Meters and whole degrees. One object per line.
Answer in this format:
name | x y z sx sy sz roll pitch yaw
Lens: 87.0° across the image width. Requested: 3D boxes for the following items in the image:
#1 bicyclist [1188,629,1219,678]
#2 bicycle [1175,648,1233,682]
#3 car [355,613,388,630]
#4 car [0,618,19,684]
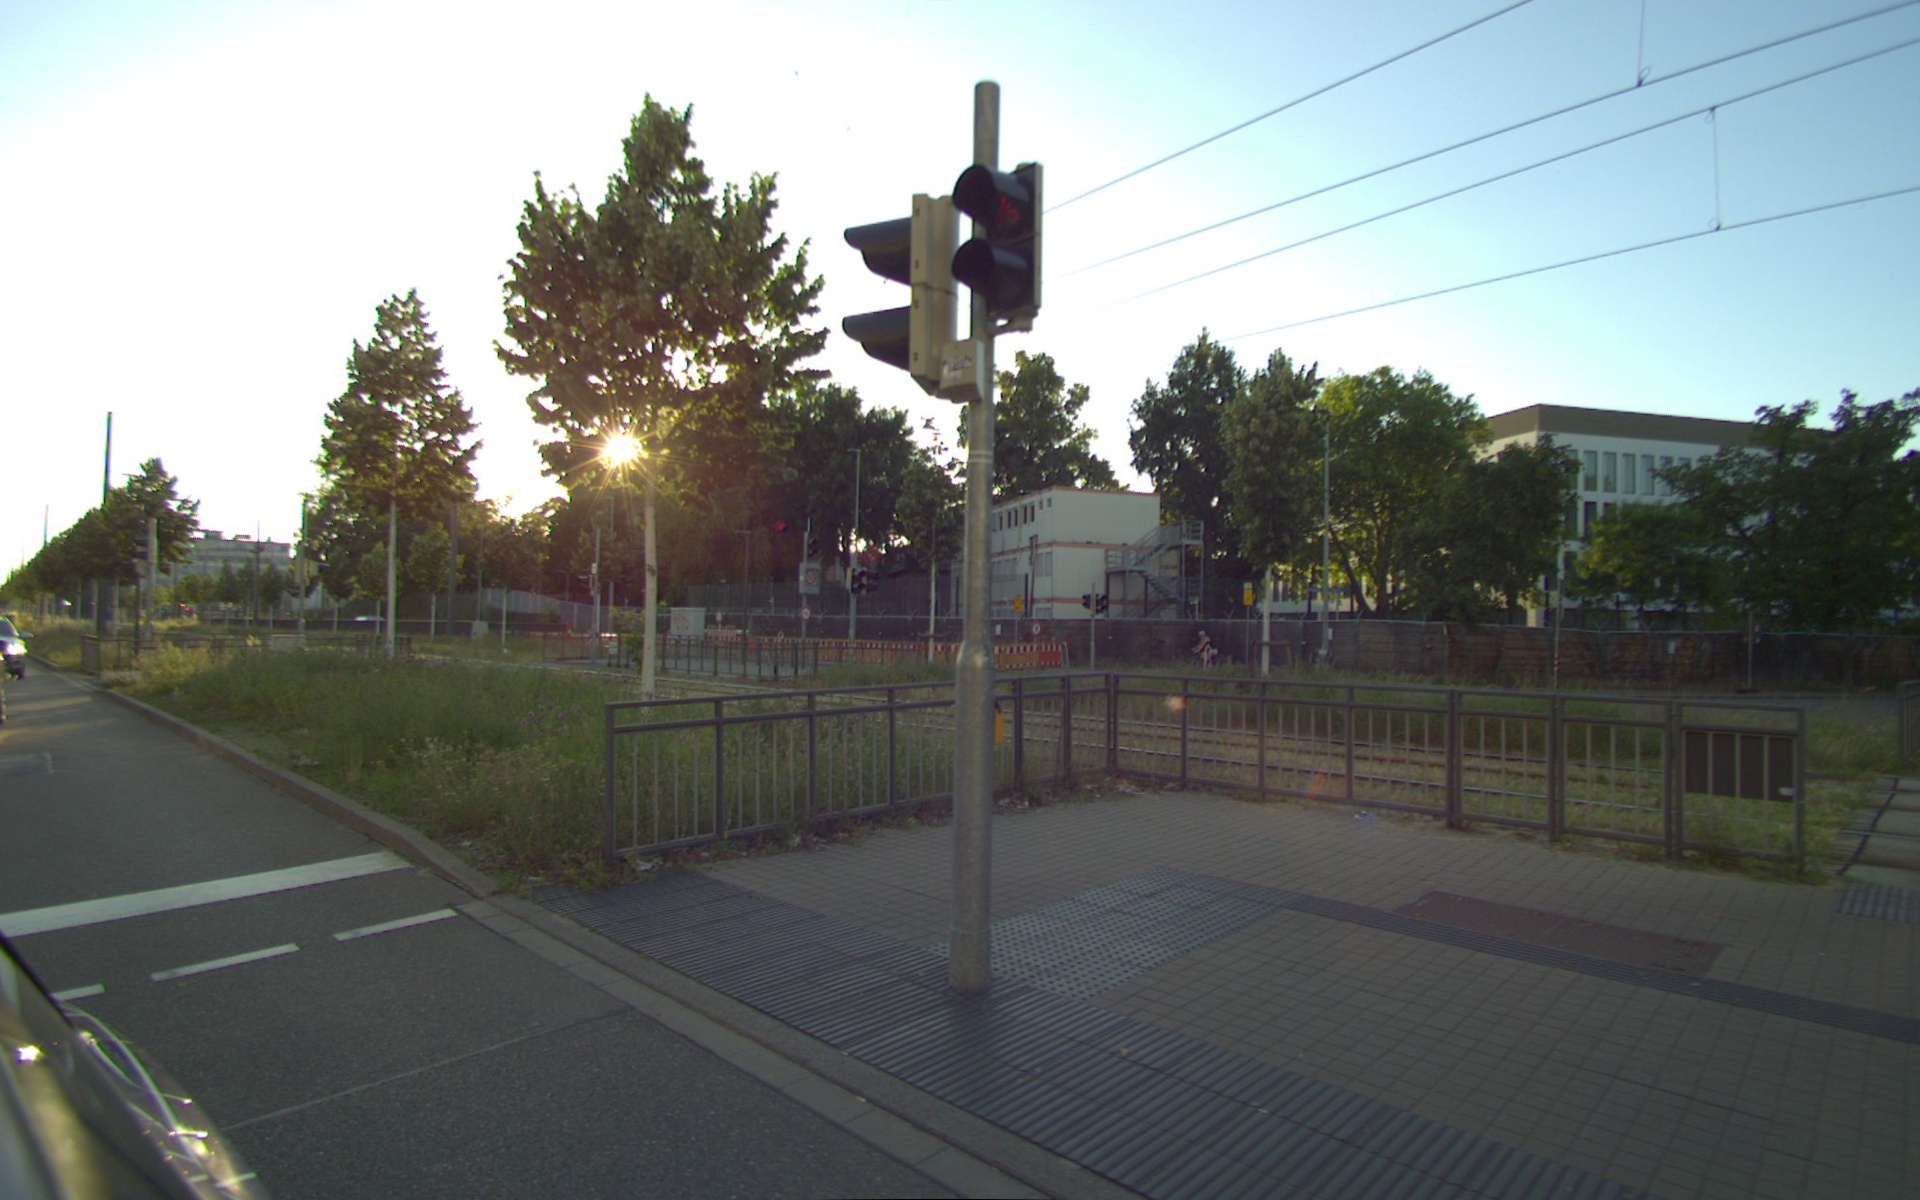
bicyclist | 8.415 1.842 34.988 0.933 1.633 0.715 -1 -1 8
bicycle | 8.420 2.244 34.984 1.876 1.142 0.715 -1 -1 8
car | -54.316 1.966 93.360 1.823 1.572 3.803 0 -1 -44
car | -23.609 1.188 23.974 1.807 1.475 4.305 0 -1 -45
